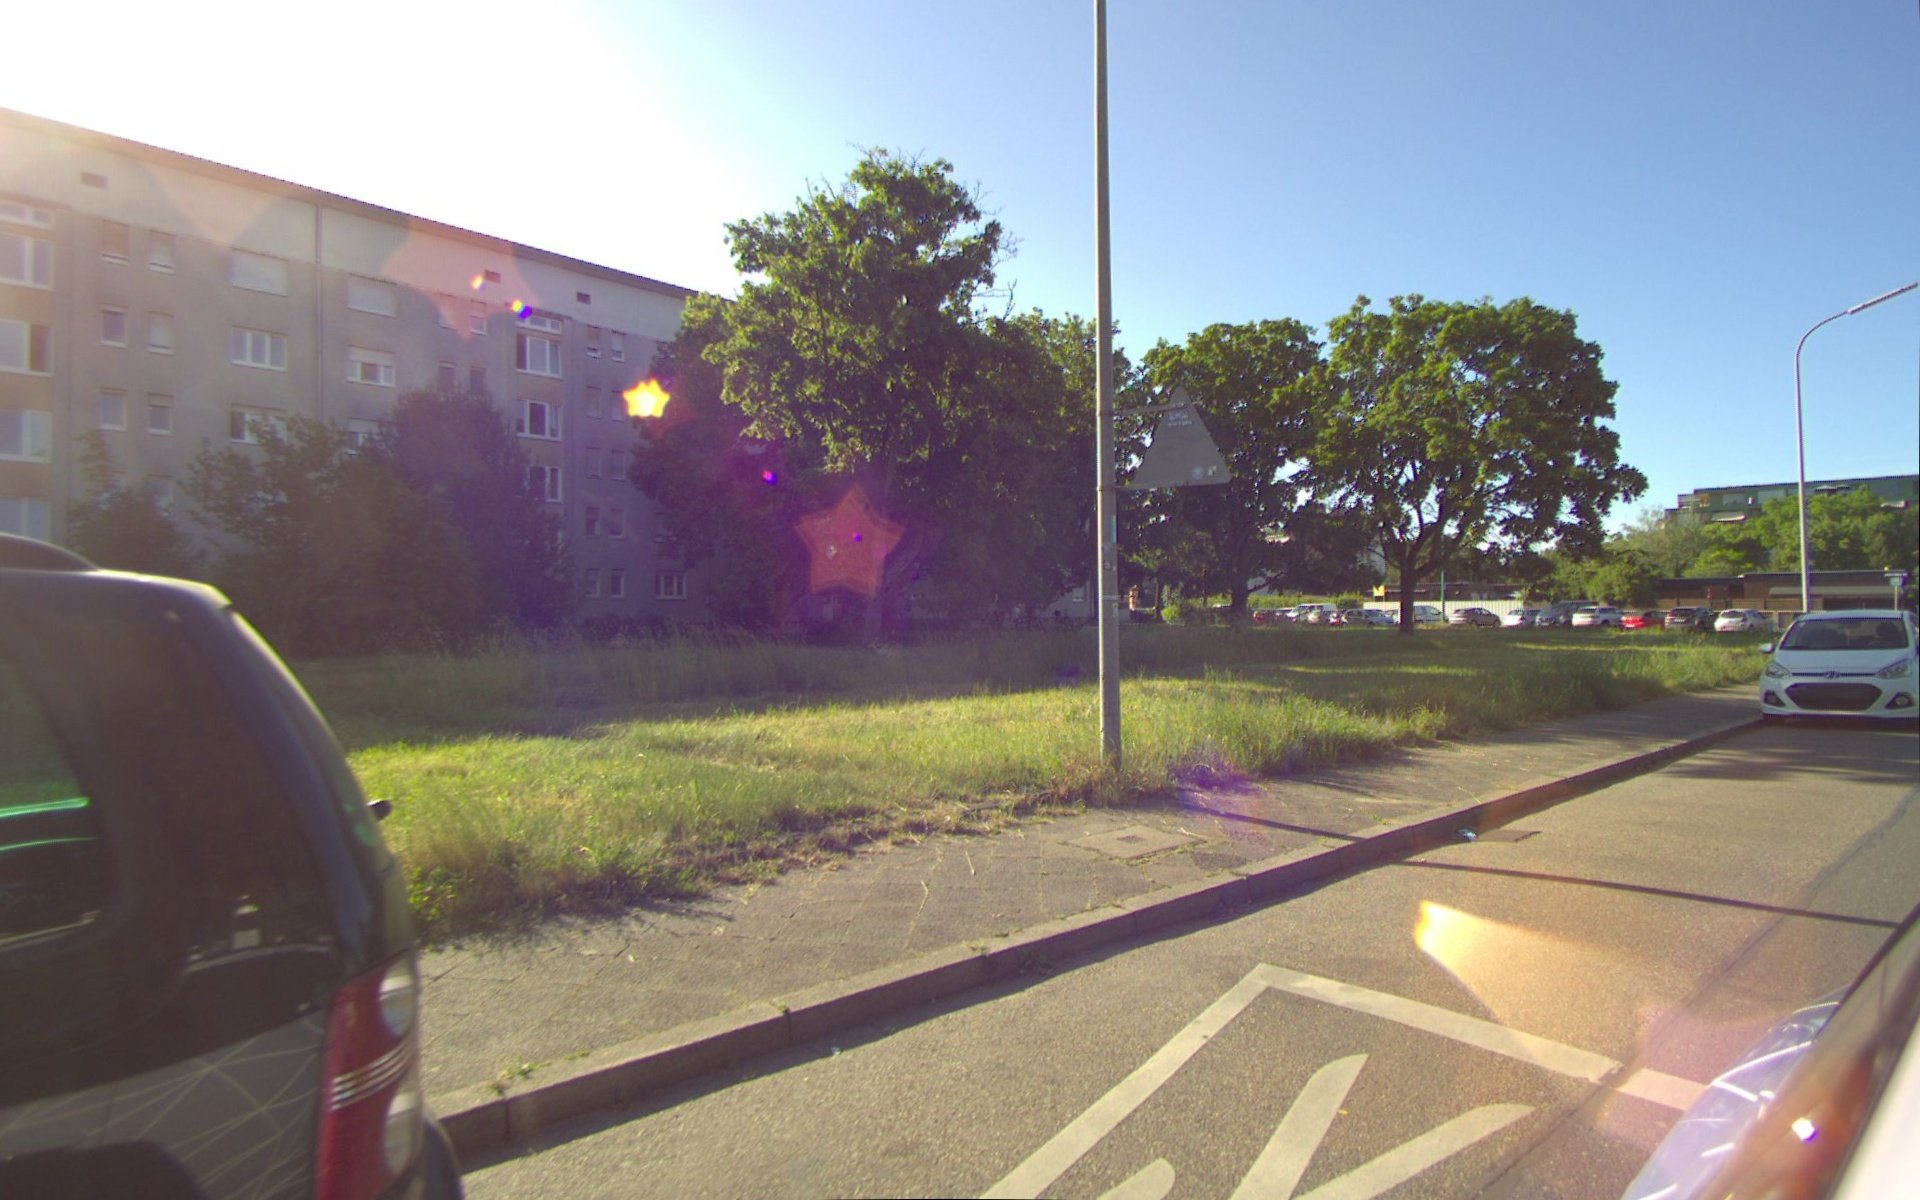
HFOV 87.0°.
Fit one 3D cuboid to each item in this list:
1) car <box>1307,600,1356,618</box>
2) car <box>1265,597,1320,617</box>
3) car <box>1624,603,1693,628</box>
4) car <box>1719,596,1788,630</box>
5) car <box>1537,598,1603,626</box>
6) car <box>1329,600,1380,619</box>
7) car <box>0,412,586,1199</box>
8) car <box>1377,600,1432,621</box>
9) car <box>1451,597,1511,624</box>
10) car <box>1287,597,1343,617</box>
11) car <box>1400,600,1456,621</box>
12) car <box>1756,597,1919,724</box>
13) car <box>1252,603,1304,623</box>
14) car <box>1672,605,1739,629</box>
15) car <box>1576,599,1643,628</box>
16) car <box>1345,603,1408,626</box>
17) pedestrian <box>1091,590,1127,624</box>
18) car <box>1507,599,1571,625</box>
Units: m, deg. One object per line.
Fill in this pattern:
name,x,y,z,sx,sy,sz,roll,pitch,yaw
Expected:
car,32.060,0.758,87.378,3.918,1.581,1.803,0,0,-27
car,30.347,0.617,92.415,4.605,1.767,1.961,0,0,-23
car,43.293,0.943,62.739,3.918,1.488,1.868,0,0,-27
car,45.461,0.711,57.955,3.922,1.883,1.958,0,0,-33
car,40.278,0.800,66.861,3.918,1.796,1.960,0,0,-27
car,33.164,0.763,85.074,3.918,1.581,1.960,0,0,-27
car,-2.764,0.659,0.652,4.393,1.673,1.840,0,-2,-43
car,35.215,0.799,80.099,3.918,1.581,1.960,0,0,-27
car,38.086,0.761,73.997,3.919,1.795,1.960,-2,1,-27
car,31.512,0.635,89.776,4.605,1.767,1.961,0,0,-23
car,36.105,0.820,78.104,3.918,1.581,1.960,0,0,-27
car,12.303,0.739,13.703,3.848,1.499,1.654,0,-2,-41
car,24.586,0.991,78.378,1.958,1.469,3.646,0,0,-23
car,44.180,0.997,59.970,3.920,1.341,1.783,0,0,-30
car,41.440,0.814,64.564,3.918,1.796,1.864,0,0,-27
car,28.326,0.963,68.940,1.958,1.543,3.646,0,0,-23
pedestrian,9.182,0.438,62.480,1.667,2.057,1.490,0,0,-38
car,39.777,0.805,69.507,3.918,1.796,1.960,0,0,-27
